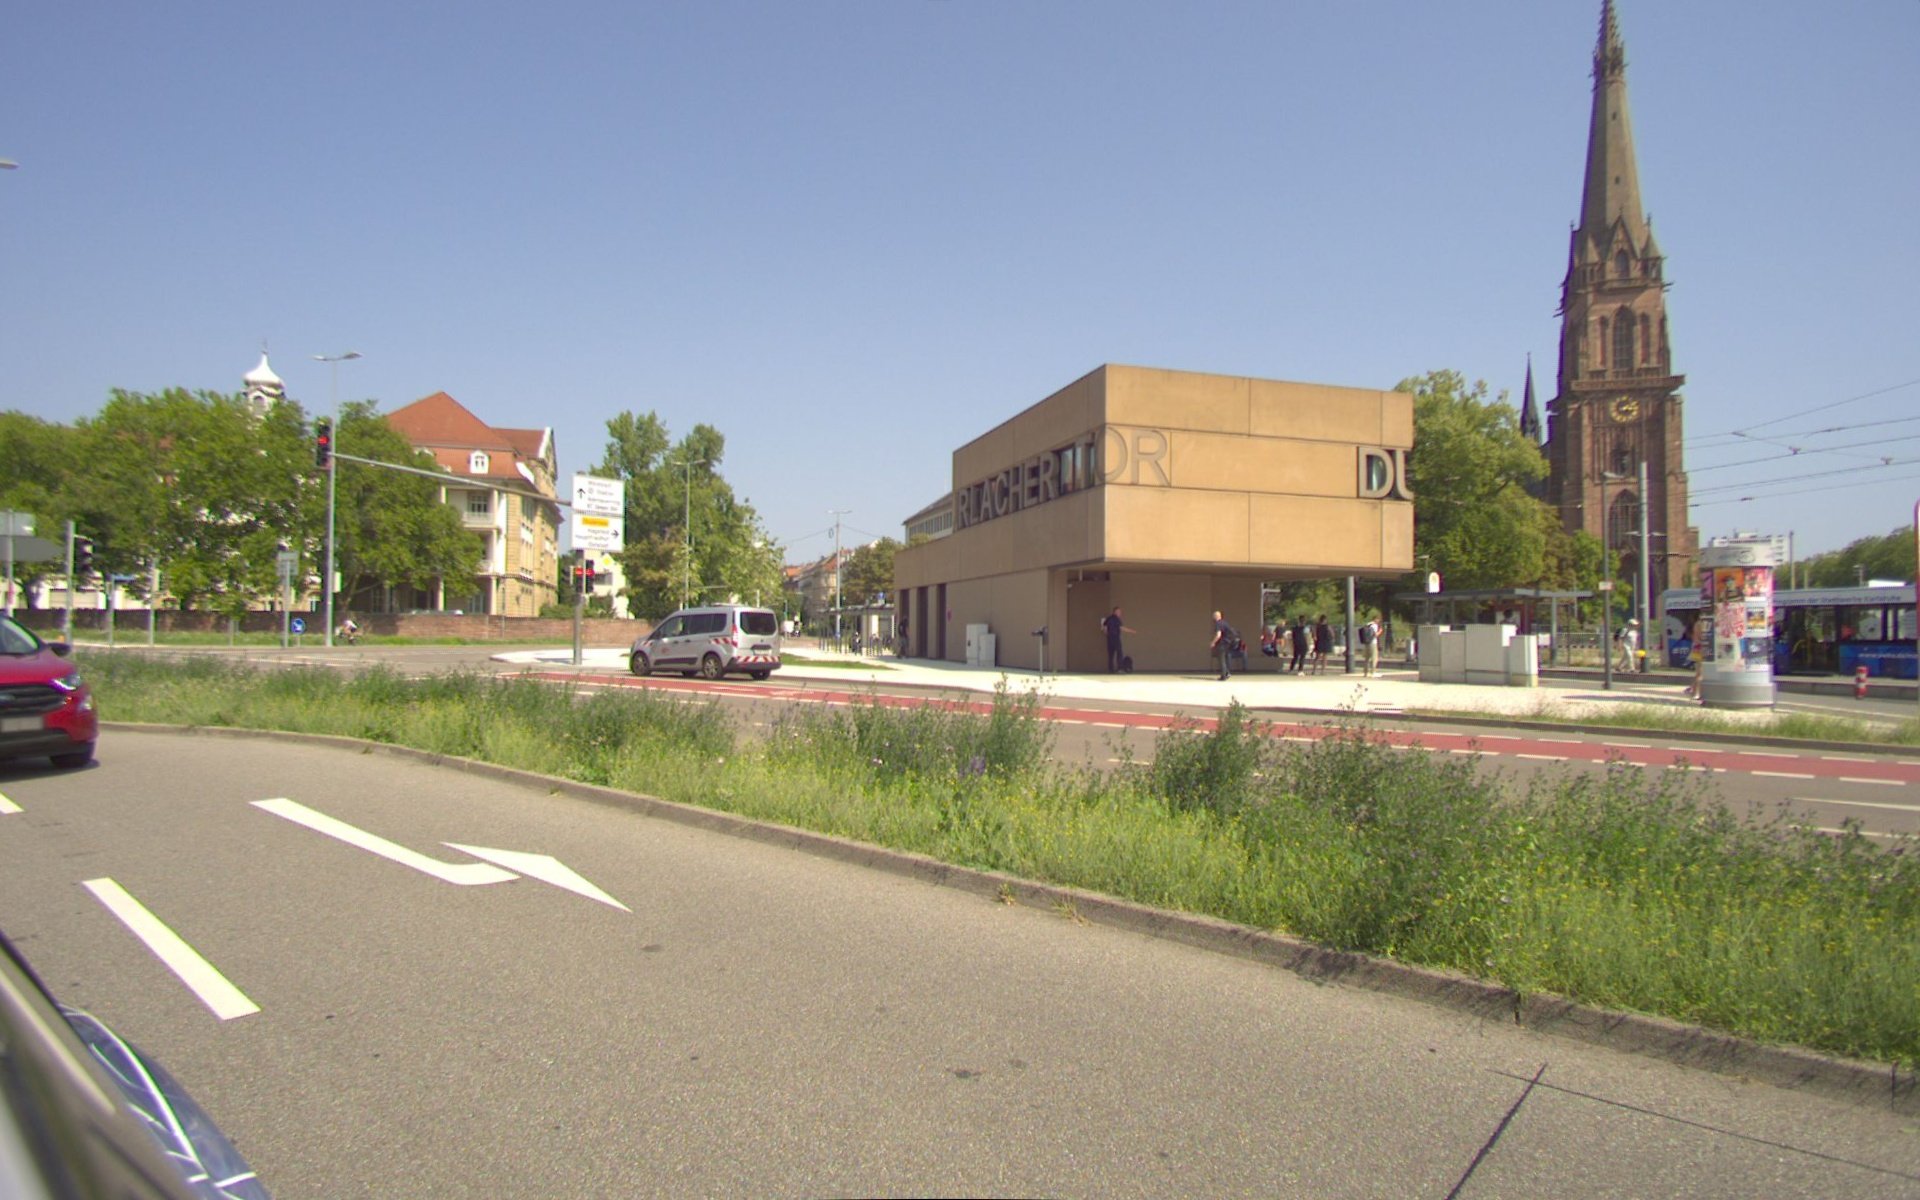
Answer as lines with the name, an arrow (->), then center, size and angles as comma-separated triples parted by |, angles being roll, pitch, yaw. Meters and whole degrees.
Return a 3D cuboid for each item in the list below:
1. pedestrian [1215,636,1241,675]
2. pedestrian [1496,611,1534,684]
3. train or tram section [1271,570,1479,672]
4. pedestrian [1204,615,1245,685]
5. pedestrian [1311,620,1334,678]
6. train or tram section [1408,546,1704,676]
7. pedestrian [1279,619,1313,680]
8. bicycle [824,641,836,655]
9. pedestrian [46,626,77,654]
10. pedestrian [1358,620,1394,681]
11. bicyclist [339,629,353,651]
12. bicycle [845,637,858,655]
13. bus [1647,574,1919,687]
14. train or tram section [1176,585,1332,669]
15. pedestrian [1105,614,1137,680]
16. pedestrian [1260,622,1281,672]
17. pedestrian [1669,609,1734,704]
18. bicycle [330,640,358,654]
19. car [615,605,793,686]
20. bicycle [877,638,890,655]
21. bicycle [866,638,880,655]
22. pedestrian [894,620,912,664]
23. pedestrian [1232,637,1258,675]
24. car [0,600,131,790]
pedestrian -> 7.624, 1.579, 28.816 | 0.531, 1.092, 0.502 | 1, -2, -18
pedestrian -> 13.737, 1.178, 25.046 | 0.685, 1.777, 0.553 | 2, -2, -31
train or tram section -> 16.285, 0.986, 40.609 | 3.091, 3.597, 8.269 | 3, -4, -17
pedestrian -> 6.557, 1.232, 25.088 | 0.809, 1.715, 0.638 | -1, -3, 40
pedestrian -> 10.210, 1.368, 28.491 | 0.485, 1.626, 0.509 | 0, -2, 6
train or tram section -> 18.775, 0.557, 32.761 | 3.091, 3.597, 8.269 | 3, -4, -17
pedestrian -> 9.211, 1.351, 27.768 | 0.628, 1.626, 0.694 | 1, -2, -12
bicycle -> -8.125, 2.979, 63.156 | 0.483, 0.890, 1.903 | 2, -3, -14
pedestrian -> -66.416, 2.954, 74.812 | 1.217, 2.029, 1.072 | 1, -3, -1
pedestrian -> 11.633, 1.397, 28.288 | 0.808, 1.682, 0.544 | -1, -3, 40
bicyclist -> -35.357, 2.287, 58.264 | 0.429, 1.242, 0.538 | -1, -3, 16
bicycle -> -6.847, 2.873, 63.600 | 0.518, 1.090, 1.870 | 2, -3, -15
bus -> 27.344, 0.921, 29.876 | 3.054, 3.094, 12.520 | 1, -2, -17
train or tram section -> 13.817, 1.421, 48.442 | 3.091, 3.597, 8.269 | 3, -4, -17
pedestrian -> 4.244, 1.233, 26.689 | 0.737, 1.701, 0.632 | 1, -2, 2
pedestrian -> 10.261, 1.547, 33.459 | 0.484, 1.626, 0.571 | 0, -2, -2
pedestrian -> 13.802, 1.038, 18.851 | 0.774, 1.715, 0.630 | 1, -1, -18
bicycle -> -35.384, 2.694, 58.156 | 0.433, 0.818, 1.478 | 0, -2, 15
car -> -6.503, 1.150, 25.559 | 4.324, 1.874, 1.976 | -1, -5, 35
bicycle -> -4.818, 2.954, 63.847 | 0.518, 1.048, 1.775 | 2, -3, -15
bicycle -> -5.489, 2.918, 63.674 | 0.518, 1.048, 1.775 | 2, -3, -15
pedestrian -> -2.200, 1.638, 39.261 | 0.559, 1.691, 0.537 | 1, -3, -18
pedestrian -> 8.151, 1.597, 28.988 | 0.531, 1.092, 0.502 | 1, -2, -18
car -> -9.933, 0.822, 9.593 | 3.981, 1.627, 1.828 | 0, 0, 28
